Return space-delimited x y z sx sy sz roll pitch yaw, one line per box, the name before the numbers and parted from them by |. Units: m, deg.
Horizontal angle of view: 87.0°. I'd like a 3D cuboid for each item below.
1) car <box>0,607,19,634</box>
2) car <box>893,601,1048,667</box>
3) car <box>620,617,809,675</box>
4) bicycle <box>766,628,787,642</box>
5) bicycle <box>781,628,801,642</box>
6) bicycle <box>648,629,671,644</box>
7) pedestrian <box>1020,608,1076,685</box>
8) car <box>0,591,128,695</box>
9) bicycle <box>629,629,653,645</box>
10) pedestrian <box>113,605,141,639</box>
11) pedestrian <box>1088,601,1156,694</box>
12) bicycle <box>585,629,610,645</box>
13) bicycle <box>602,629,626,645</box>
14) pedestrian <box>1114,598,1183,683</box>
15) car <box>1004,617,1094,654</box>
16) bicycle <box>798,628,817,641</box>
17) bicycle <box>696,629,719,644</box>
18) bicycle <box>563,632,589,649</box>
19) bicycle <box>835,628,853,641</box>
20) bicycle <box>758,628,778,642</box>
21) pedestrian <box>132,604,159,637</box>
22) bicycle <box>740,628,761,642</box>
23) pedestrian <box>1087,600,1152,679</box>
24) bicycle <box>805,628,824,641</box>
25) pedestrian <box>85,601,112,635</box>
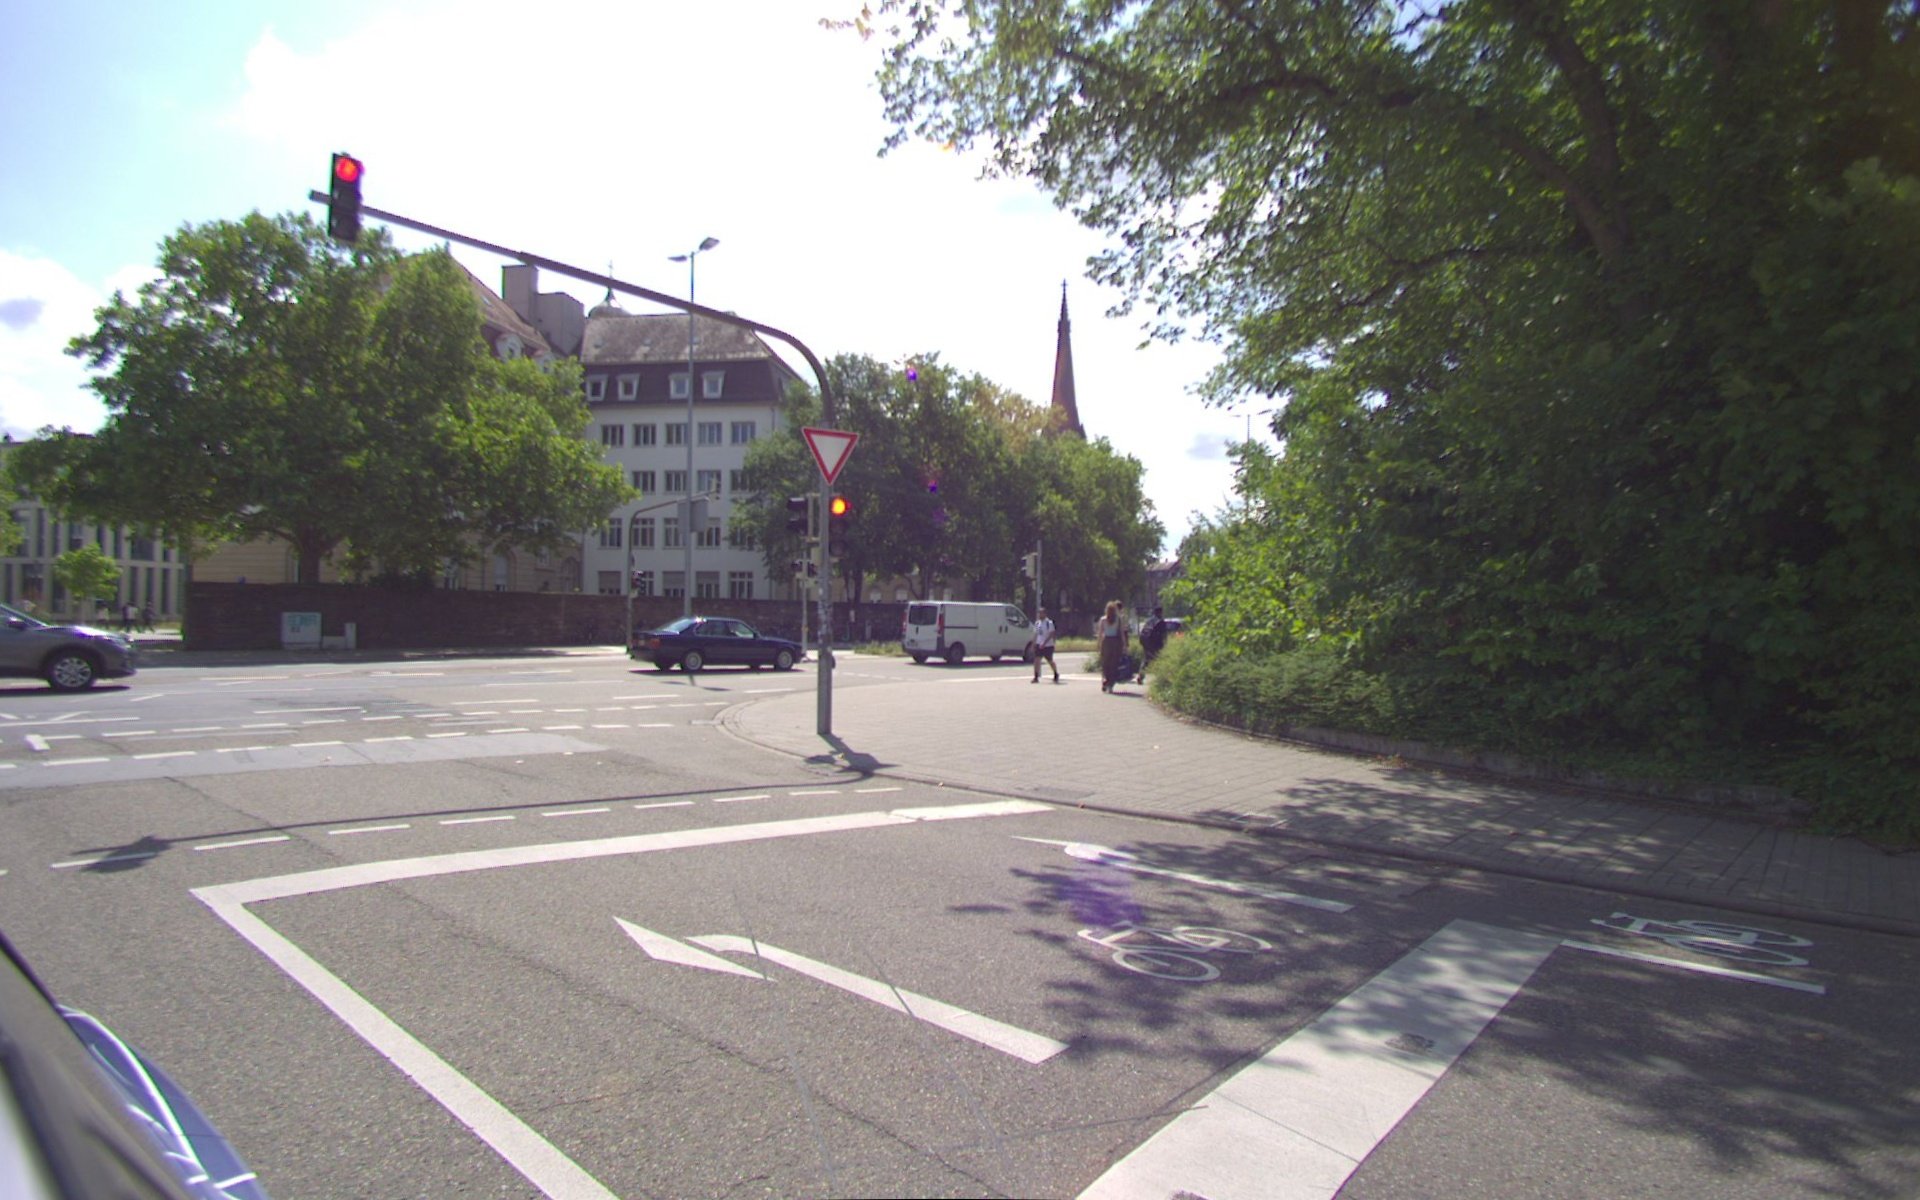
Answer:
car | -49.440 1.004 49.682 1.978 1.316 4.480 2 0 10
car | 0.418 1.062 32.974 5.116 1.970 2.014 1 0 -44
car | -6.394 1.191 26.692 4.542 1.397 1.700 2 -2 -41
bicycle | -9.829 1.876 54.175 0.994 0.687 0.408 2 0 4
bicycle | -9.178 1.898 54.926 0.994 0.687 0.408 2 0 4
bicycle | -14.331 1.726 48.234 0.999 0.687 0.406 2 0 17
pedestrian | 1.999 1.047 23.013 0.854 1.714 0.917 -3 -3 45
car | -16.743 0.688 16.805 4.410 1.691 1.827 1 -1 -43
bicycle | -14.870 1.708 47.163 0.999 0.687 0.406 2 0 17
pedestrian | -45.569 1.202 55.353 0.877 1.803 0.846 1 -2 -14
pedestrian | 2.979 0.852 18.588 0.855 1.639 1.008 -2 -1 35
bicycle | -16.233 1.662 45.377 0.999 0.687 0.406 2 0 17
bicycle | -15.775 1.678 46.127 0.999 0.687 0.406 2 0 17
pedestrian | 3.942 0.833 21.186 1.162 1.717 0.800 0 -1 -23
car | 3.854 1.505 43.476 3.747 1.483 1.756 2 -1 -43
bicycle | -8.440 1.923 55.975 0.994 0.687 0.408 2 0 4
bicycle | -12.505 1.787 50.120 0.994 0.687 0.408 2 0 4
bicycle | -16.833 1.781 44.376 0.999 0.687 0.406 2 0 17
bicycle | -6.738 2.004 58.794 0.994 0.687 0.408 2 0 4
bicycle | -10.186 1.864 53.673 0.994 0.687 0.408 2 0 4
pedestrian | -44.560 1.103 55.355 0.851 1.803 0.846 1 -1 -15
bicycle | -10.950 1.839 52.943 0.994 0.687 0.408 2 0 4
pedestrian | 3.555 0.861 22.558 1.162 1.717 0.800 0 -1 -23
bicycle | -8.149 1.925 56.709 0.994 0.687 0.408 2 0 4
pedestrian | -46.815 0.990 55.013 0.800 1.803 0.846 0 -1 -16
